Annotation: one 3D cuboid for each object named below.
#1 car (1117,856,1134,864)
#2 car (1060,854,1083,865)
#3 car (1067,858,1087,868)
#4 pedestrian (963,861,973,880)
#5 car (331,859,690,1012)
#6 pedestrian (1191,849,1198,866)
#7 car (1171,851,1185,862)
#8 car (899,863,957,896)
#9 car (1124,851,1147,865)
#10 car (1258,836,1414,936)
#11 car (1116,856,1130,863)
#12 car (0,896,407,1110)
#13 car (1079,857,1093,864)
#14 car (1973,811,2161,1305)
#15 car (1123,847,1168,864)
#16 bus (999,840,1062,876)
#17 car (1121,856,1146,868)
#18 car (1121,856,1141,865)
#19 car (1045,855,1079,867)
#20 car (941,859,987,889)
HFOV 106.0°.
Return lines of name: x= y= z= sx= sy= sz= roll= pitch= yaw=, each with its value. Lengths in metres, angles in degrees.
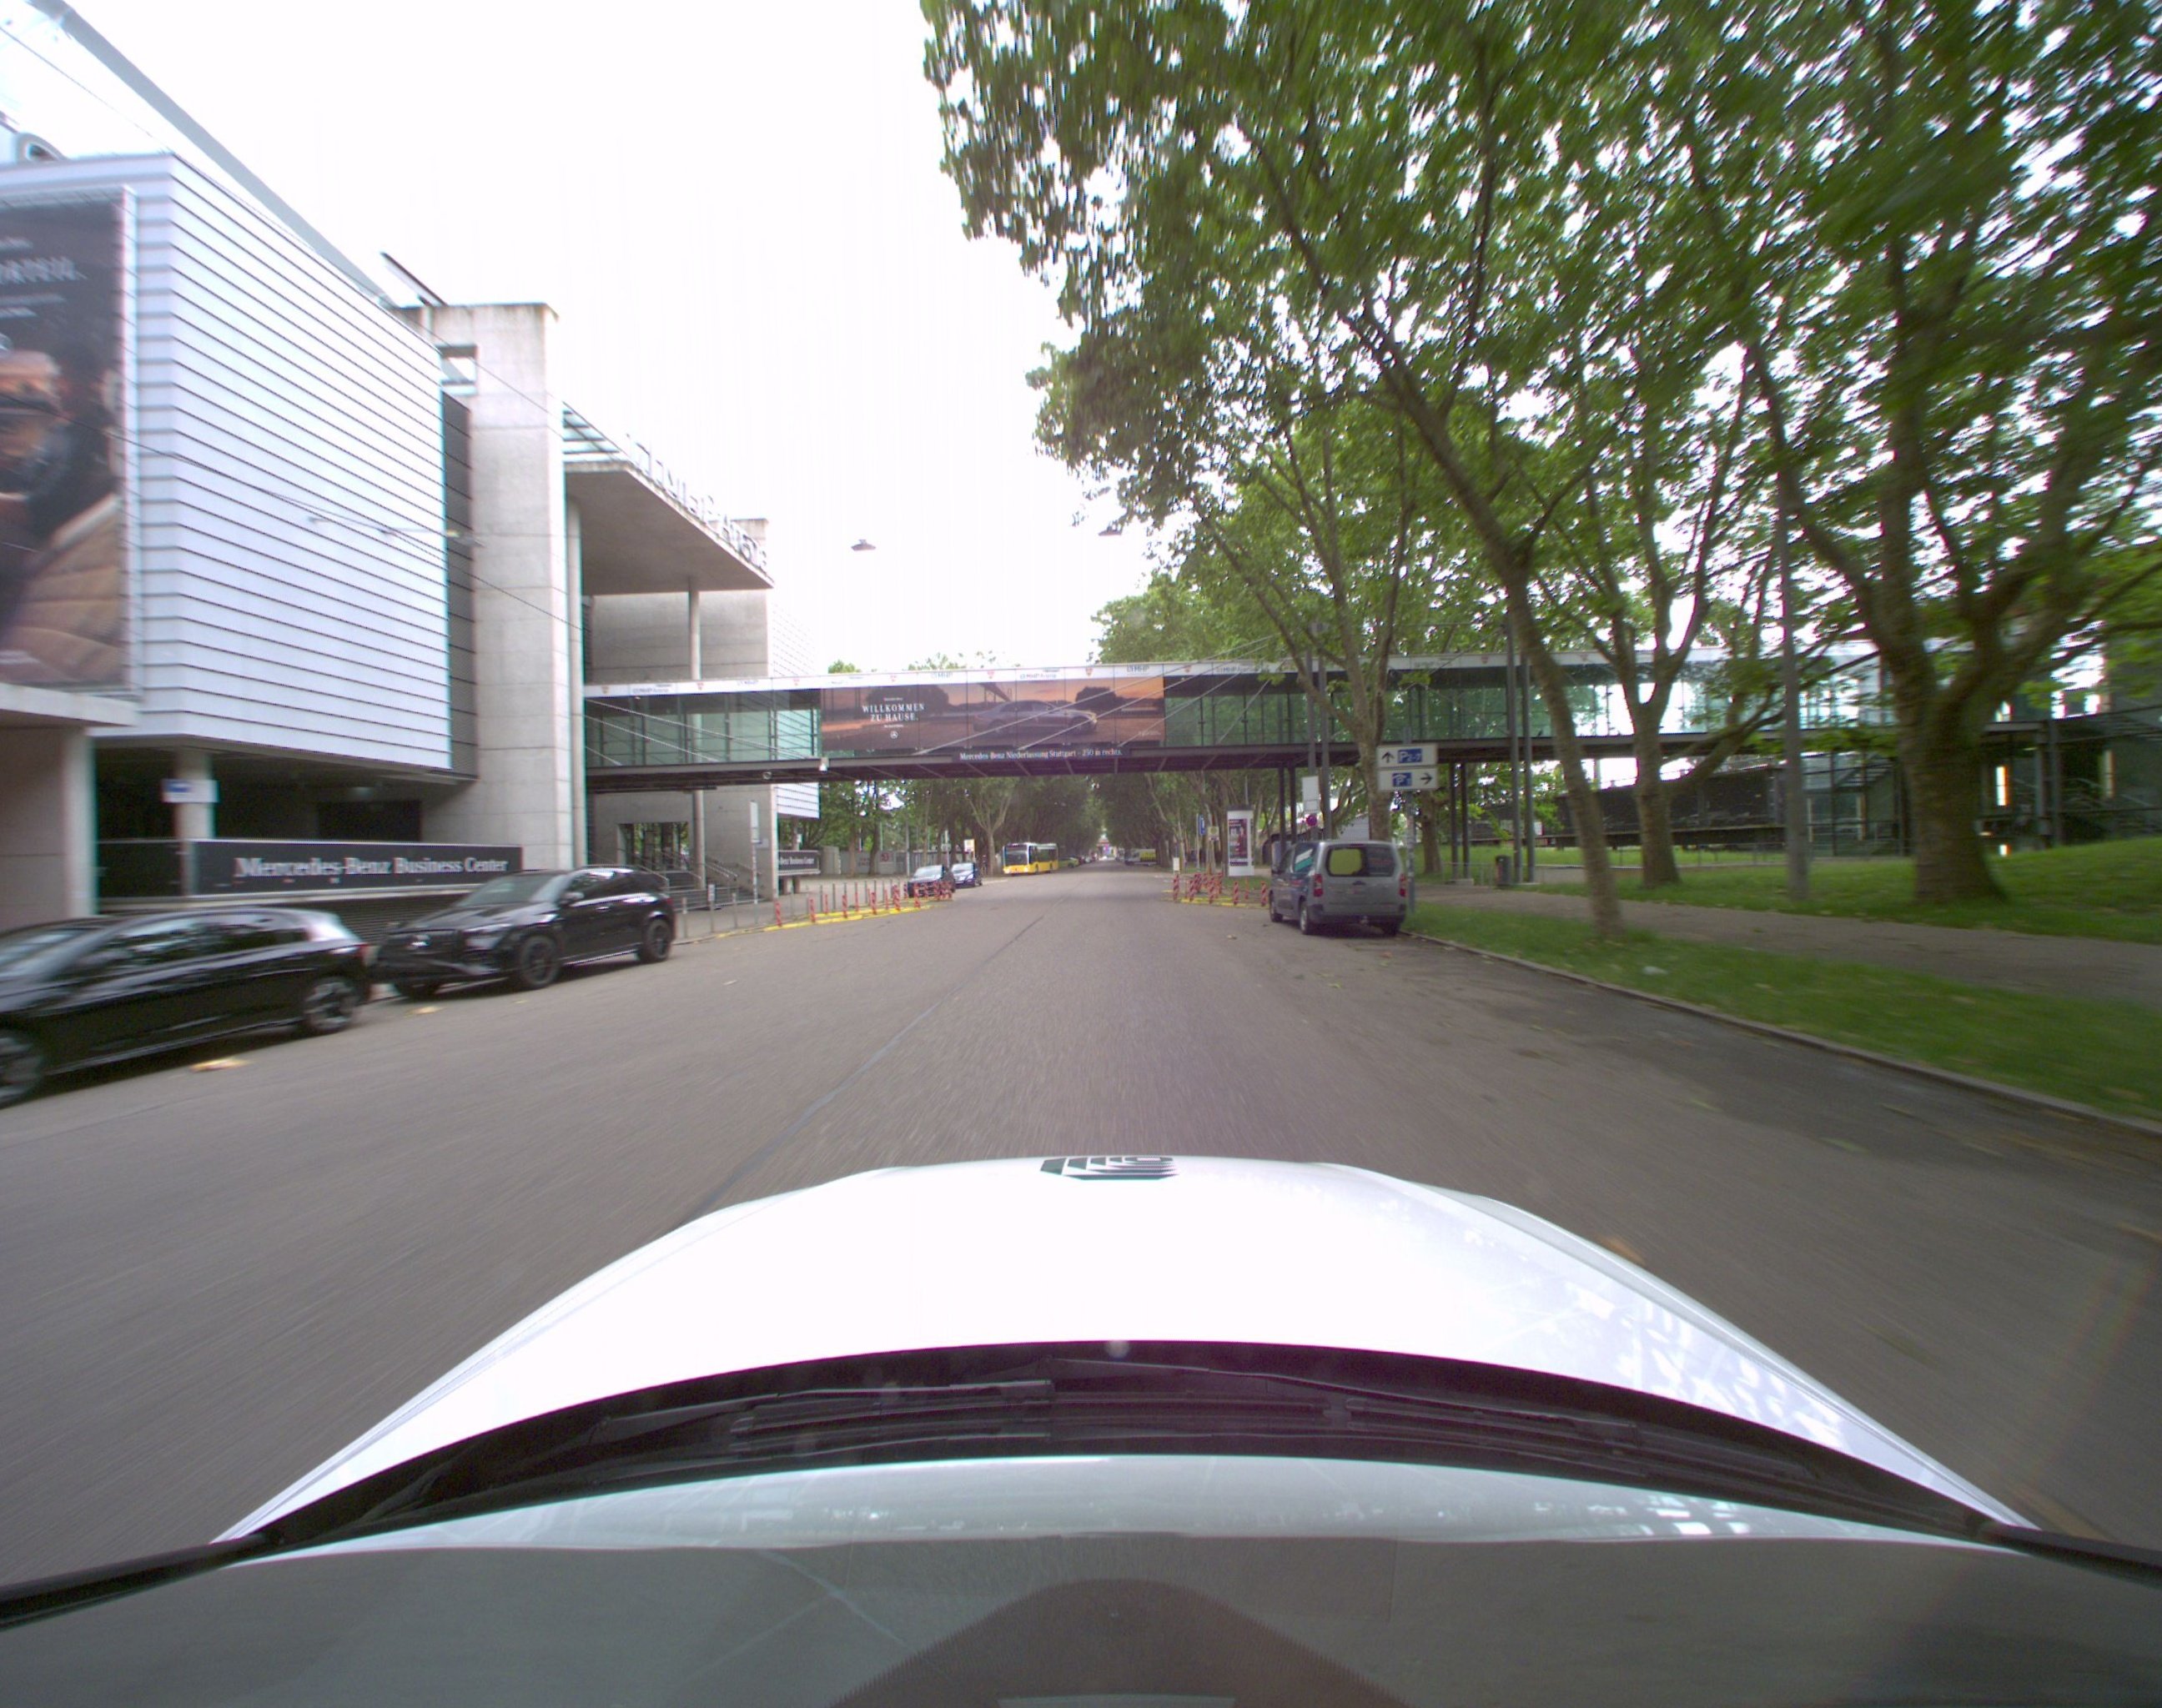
car: x=9.836 y=1.301 z=180.349 sx=3.608 sy=1.794 sz=1.543 roll=-2 pitch=-1 yaw=1
car: x=-1.565 y=0.897 z=137.028 sx=3.768 sy=1.794 sz=1.543 roll=-2 pitch=-1 yaw=1
car: x=-0.761 y=1.707 z=161.223 sx=3.643 sy=1.863 sz=1.627 roll=-2 pitch=-1 yaw=5
pedestrian: x=-9.553 y=1.385 z=69.096 sx=0.670 sy=1.603 sz=0.606 roll=-1 pitch=-1 yaw=-23
car: x=-8.614 y=1.085 z=13.059 sx=2.026 sy=1.789 sz=4.911 roll=-5 pitch=0 yaw=2
pedestrian: x=12.648 y=0.394 z=90.452 sx=0.572 sy=1.888 sz=0.615 roll=-1 pitch=-1 yaw=-7
car: x=15.915 y=0.456 z=133.462 sx=1.986 sy=1.772 sz=4.002 roll=-2 pitch=0 yaw=2
car: x=-7.830 y=1.272 z=42.004 sx=1.851 sy=1.453 sz=4.451 roll=-4 pitch=0 yaw=2
car: x=9.633 y=0.708 z=145.179 sx=3.973 sy=2.339 sz=1.543 roll=-2 pitch=-1 yaw=1
car: x=5.106 y=0.582 z=17.116 sx=1.840 sy=1.783 sz=5.214 roll=0 pitch=0 yaw=2
car: x=11.894 y=1.664 z=230.895 sx=3.971 sy=1.861 sz=1.638 roll=-2 pitch=-1 yaw=2
car: x=-8.925 y=1.268 z=7.448 sx=1.698 sy=1.419 sz=4.327 roll=-4 pitch=0 yaw=2
car: x=1.490 y=1.890 z=231.375 sx=3.971 sy=1.970 sz=2.001 roll=-2 pitch=-1 yaw=2
car: x=4.395 y=0.633 z=0.809 sx=1.907 sy=1.618 sz=4.751 roll=-2 pitch=0 yaw=2
car: x=10.011 y=0.244 z=127.066 sx=6.801 sy=2.513 sz=2.316 roll=-2 pitch=0 yaw=0
bus: x=-4.803 y=0.338 z=81.223 sx=3.019 sy=3.160 sz=12.716 roll=-4 pitch=0 yaw=11
car: x=8.635 y=1.276 z=134.550 sx=3.973 sy=1.794 sz=1.543 roll=-2 pitch=-1 yaw=1
car: x=10.124 y=1.344 z=165.768 sx=3.973 sy=1.794 sz=1.543 roll=-2 pitch=-1 yaw=1
car: x=-2.667 y=0.993 z=117.308 sx=4.681 sy=1.584 sz=1.865 roll=-2 pitch=-1 yaw=3
car: x=-7.258 y=1.206 z=50.809 sx=1.986 sy=1.584 sz=4.115 roll=-4 pitch=0 yaw=2
